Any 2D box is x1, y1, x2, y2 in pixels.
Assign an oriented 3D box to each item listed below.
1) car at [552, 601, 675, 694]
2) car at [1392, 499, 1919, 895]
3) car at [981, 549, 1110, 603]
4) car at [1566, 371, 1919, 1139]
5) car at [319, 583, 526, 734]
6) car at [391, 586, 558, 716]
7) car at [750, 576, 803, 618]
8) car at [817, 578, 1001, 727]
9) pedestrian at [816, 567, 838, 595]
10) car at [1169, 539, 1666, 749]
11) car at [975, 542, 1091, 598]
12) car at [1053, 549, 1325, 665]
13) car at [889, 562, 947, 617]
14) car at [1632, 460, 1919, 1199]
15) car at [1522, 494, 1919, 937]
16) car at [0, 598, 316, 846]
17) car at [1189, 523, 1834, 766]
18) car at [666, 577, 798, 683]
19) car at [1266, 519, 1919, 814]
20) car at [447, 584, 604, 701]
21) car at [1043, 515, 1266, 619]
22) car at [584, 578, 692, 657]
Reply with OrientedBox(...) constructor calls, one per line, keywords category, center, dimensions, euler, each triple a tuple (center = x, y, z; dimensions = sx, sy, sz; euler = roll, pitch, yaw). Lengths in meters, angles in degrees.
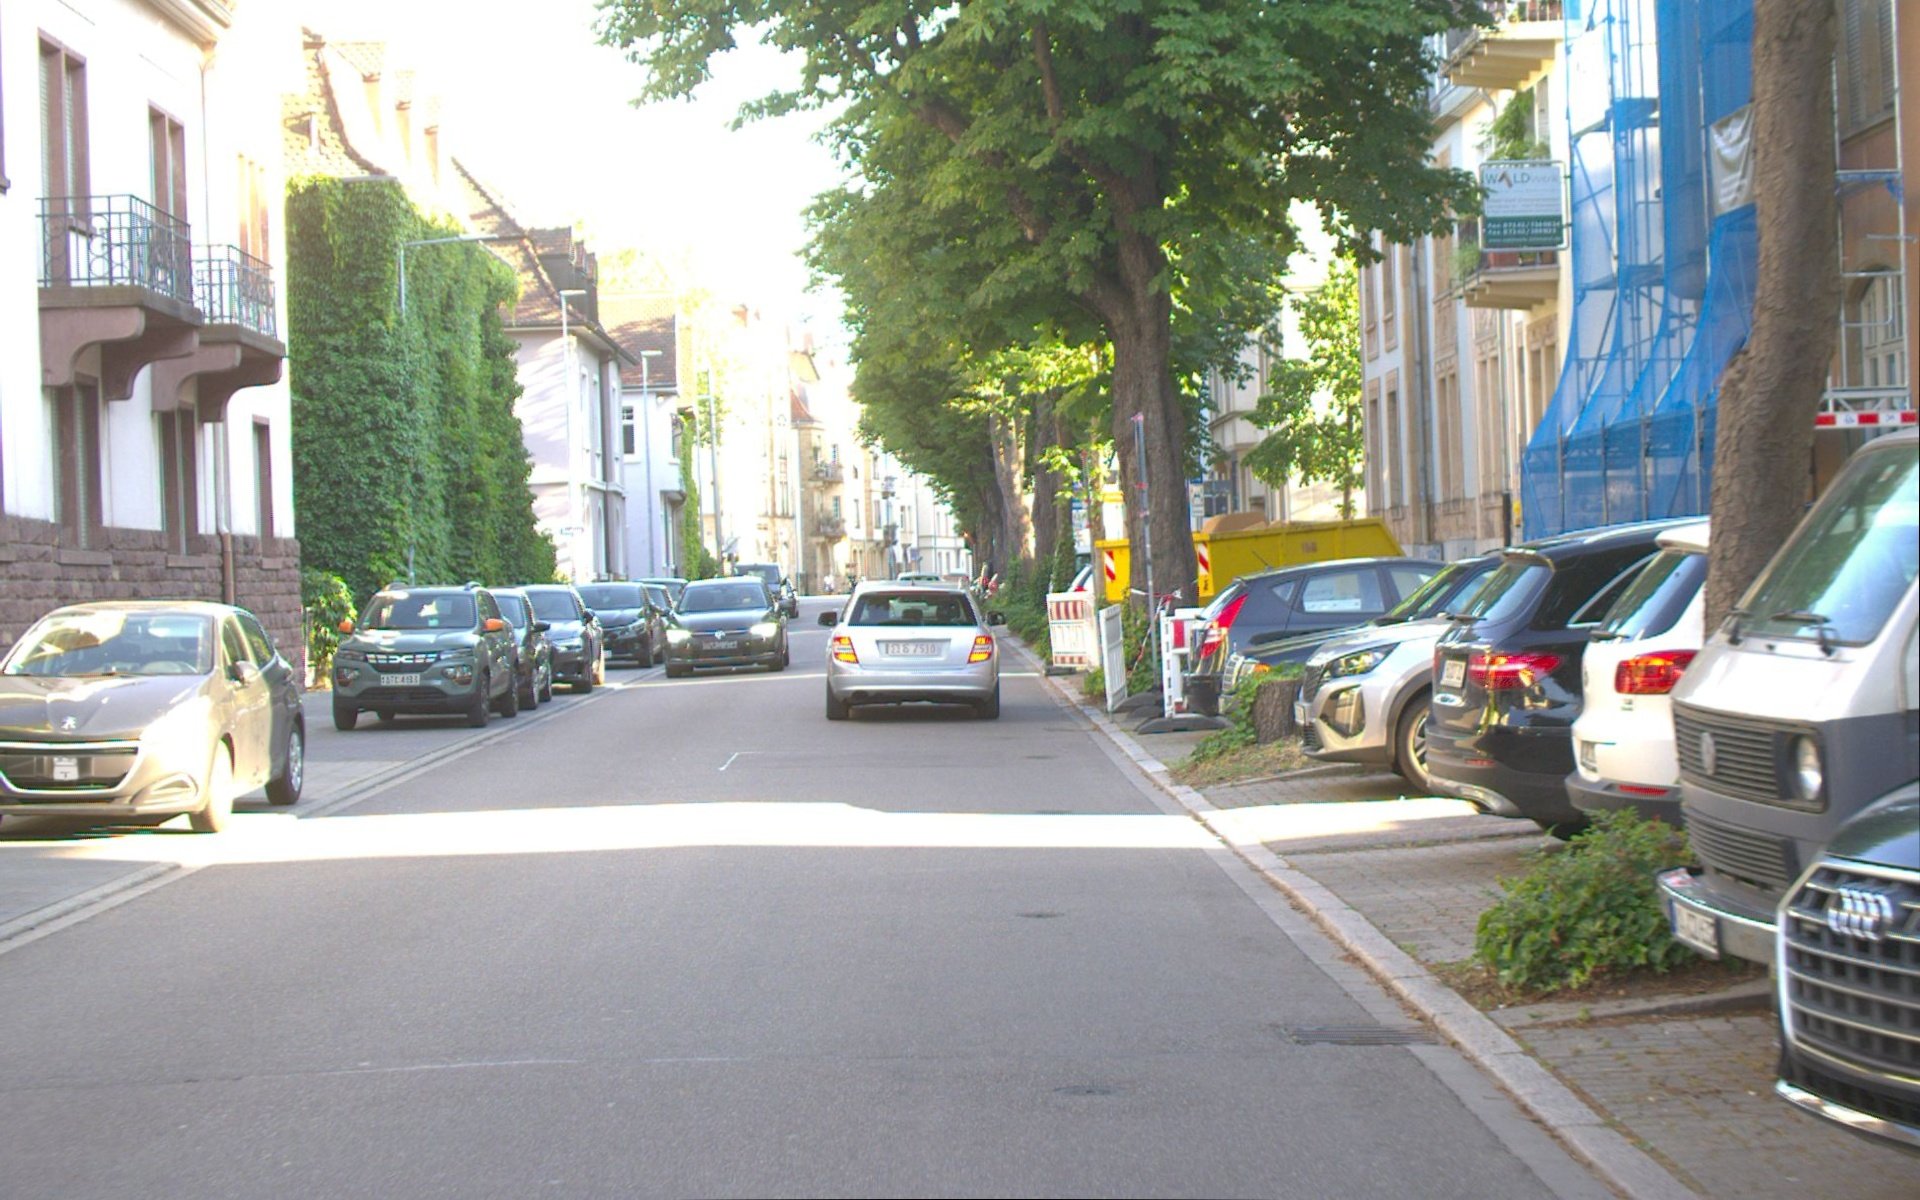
OrientedBox(category="car", center=(-5.763, 0.764, 57.603), dimensions=(1.649, 1.416, 4.099), euler=(-1, 1, 0))
OrientedBox(category="car", center=(4.451, 0.371, 16.851), dimensions=(4.331, 1.677, 1.706), euler=(-4, 1, -1))
OrientedBox(category="car", center=(2.873, -0.799, 114.956), dimensions=(4.190, 1.470, 1.851), euler=(-4, 0, 2))
OrientedBox(category="car", center=(4.239, 0.321, 10.101), dimensions=(4.469, 2.007, 1.896), euler=(-2, 1, -2))
OrientedBox(category="car", center=(-5.756, 0.591, 37.202), dimensions=(1.653, 1.480, 3.764), euler=(-1, 1, 0))
OrientedBox(category="car", center=(-5.865, 0.579, 41.861), dimensions=(1.653, 1.442, 3.845), euler=(-1, 1, -3))
OrientedBox(category="car", center=(-6.648, -0.114, 124.734), dimensions=(1.695, 1.442, 4.358), euler=(-1, 1, 0))
OrientedBox(category="car", center=(-0.505, 0.516, 35.845), dimensions=(1.784, 1.432, 3.851), euler=(-1, 0, 0))
OrientedBox(category="pedestrian", center=(-8.361, -1.201, 215.781), dimensions=(1.221, 1.716, 1.503), euler=(-1, 0, 3))
OrientedBox(category="car", center=(3.891, 0.359, 29.752), dimensions=(3.987, 1.487, 1.851), euler=(-4, 1, 1))
OrientedBox(category="car", center=(2.789, -1.151, 131.657), dimensions=(4.219, 1.890, 1.906), euler=(-4, 0, -2))
OrientedBox(category="car", center=(3.597, 0.100, 54.529), dimensions=(4.144, 1.529, 1.687), euler=(-4, 1, 2))
OrientedBox(category="car", center=(-1.233, -0.330, 102.981), dimensions=(1.623, 1.564, 3.680), euler=(-2, 1, 0))
OrientedBox(category="car", center=(3.840, 0.493, 7.666), dimensions=(4.174, 1.718, 1.766), euler=(-3, 0, -8))
OrientedBox(category="car", center=(4.522, 0.369, 14.563), dimensions=(3.949, 1.677, 1.705), euler=(-4, 1, 3))
OrientedBox(category="car", center=(-5.528, 0.753, 23.114), dimensions=(1.653, 1.442, 4.005), euler=(-1, 1, 0))
OrientedBox(category="car", center=(4.288, 0.333, 27.262), dimensions=(4.718, 1.530, 1.851), euler=(-4, 1, 0))
OrientedBox(category="car", center=(-3.469, 0.432, 52.963), dimensions=(1.772, 1.443, 4.000), euler=(-3, 1, -1))
OrientedBox(category="car", center=(4.188, 0.392, 22.120), dimensions=(4.155, 1.534, 1.851), euler=(-4, 1, -1))
OrientedBox(category="car", center=(-5.930, 0.539, 47.346), dimensions=(1.792, 1.456, 4.778), euler=(-1, 1, -3))
OrientedBox(category="car", center=(3.956, -0.680, 70.429), dimensions=(4.314, 1.801, 2.000), euler=(-4, 1, -1))
OrientedBox(category="car", center=(-5.984, 0.306, 64.224), dimensions=(1.686, 1.375, 3.721), euler=(-1, 1, 0))
